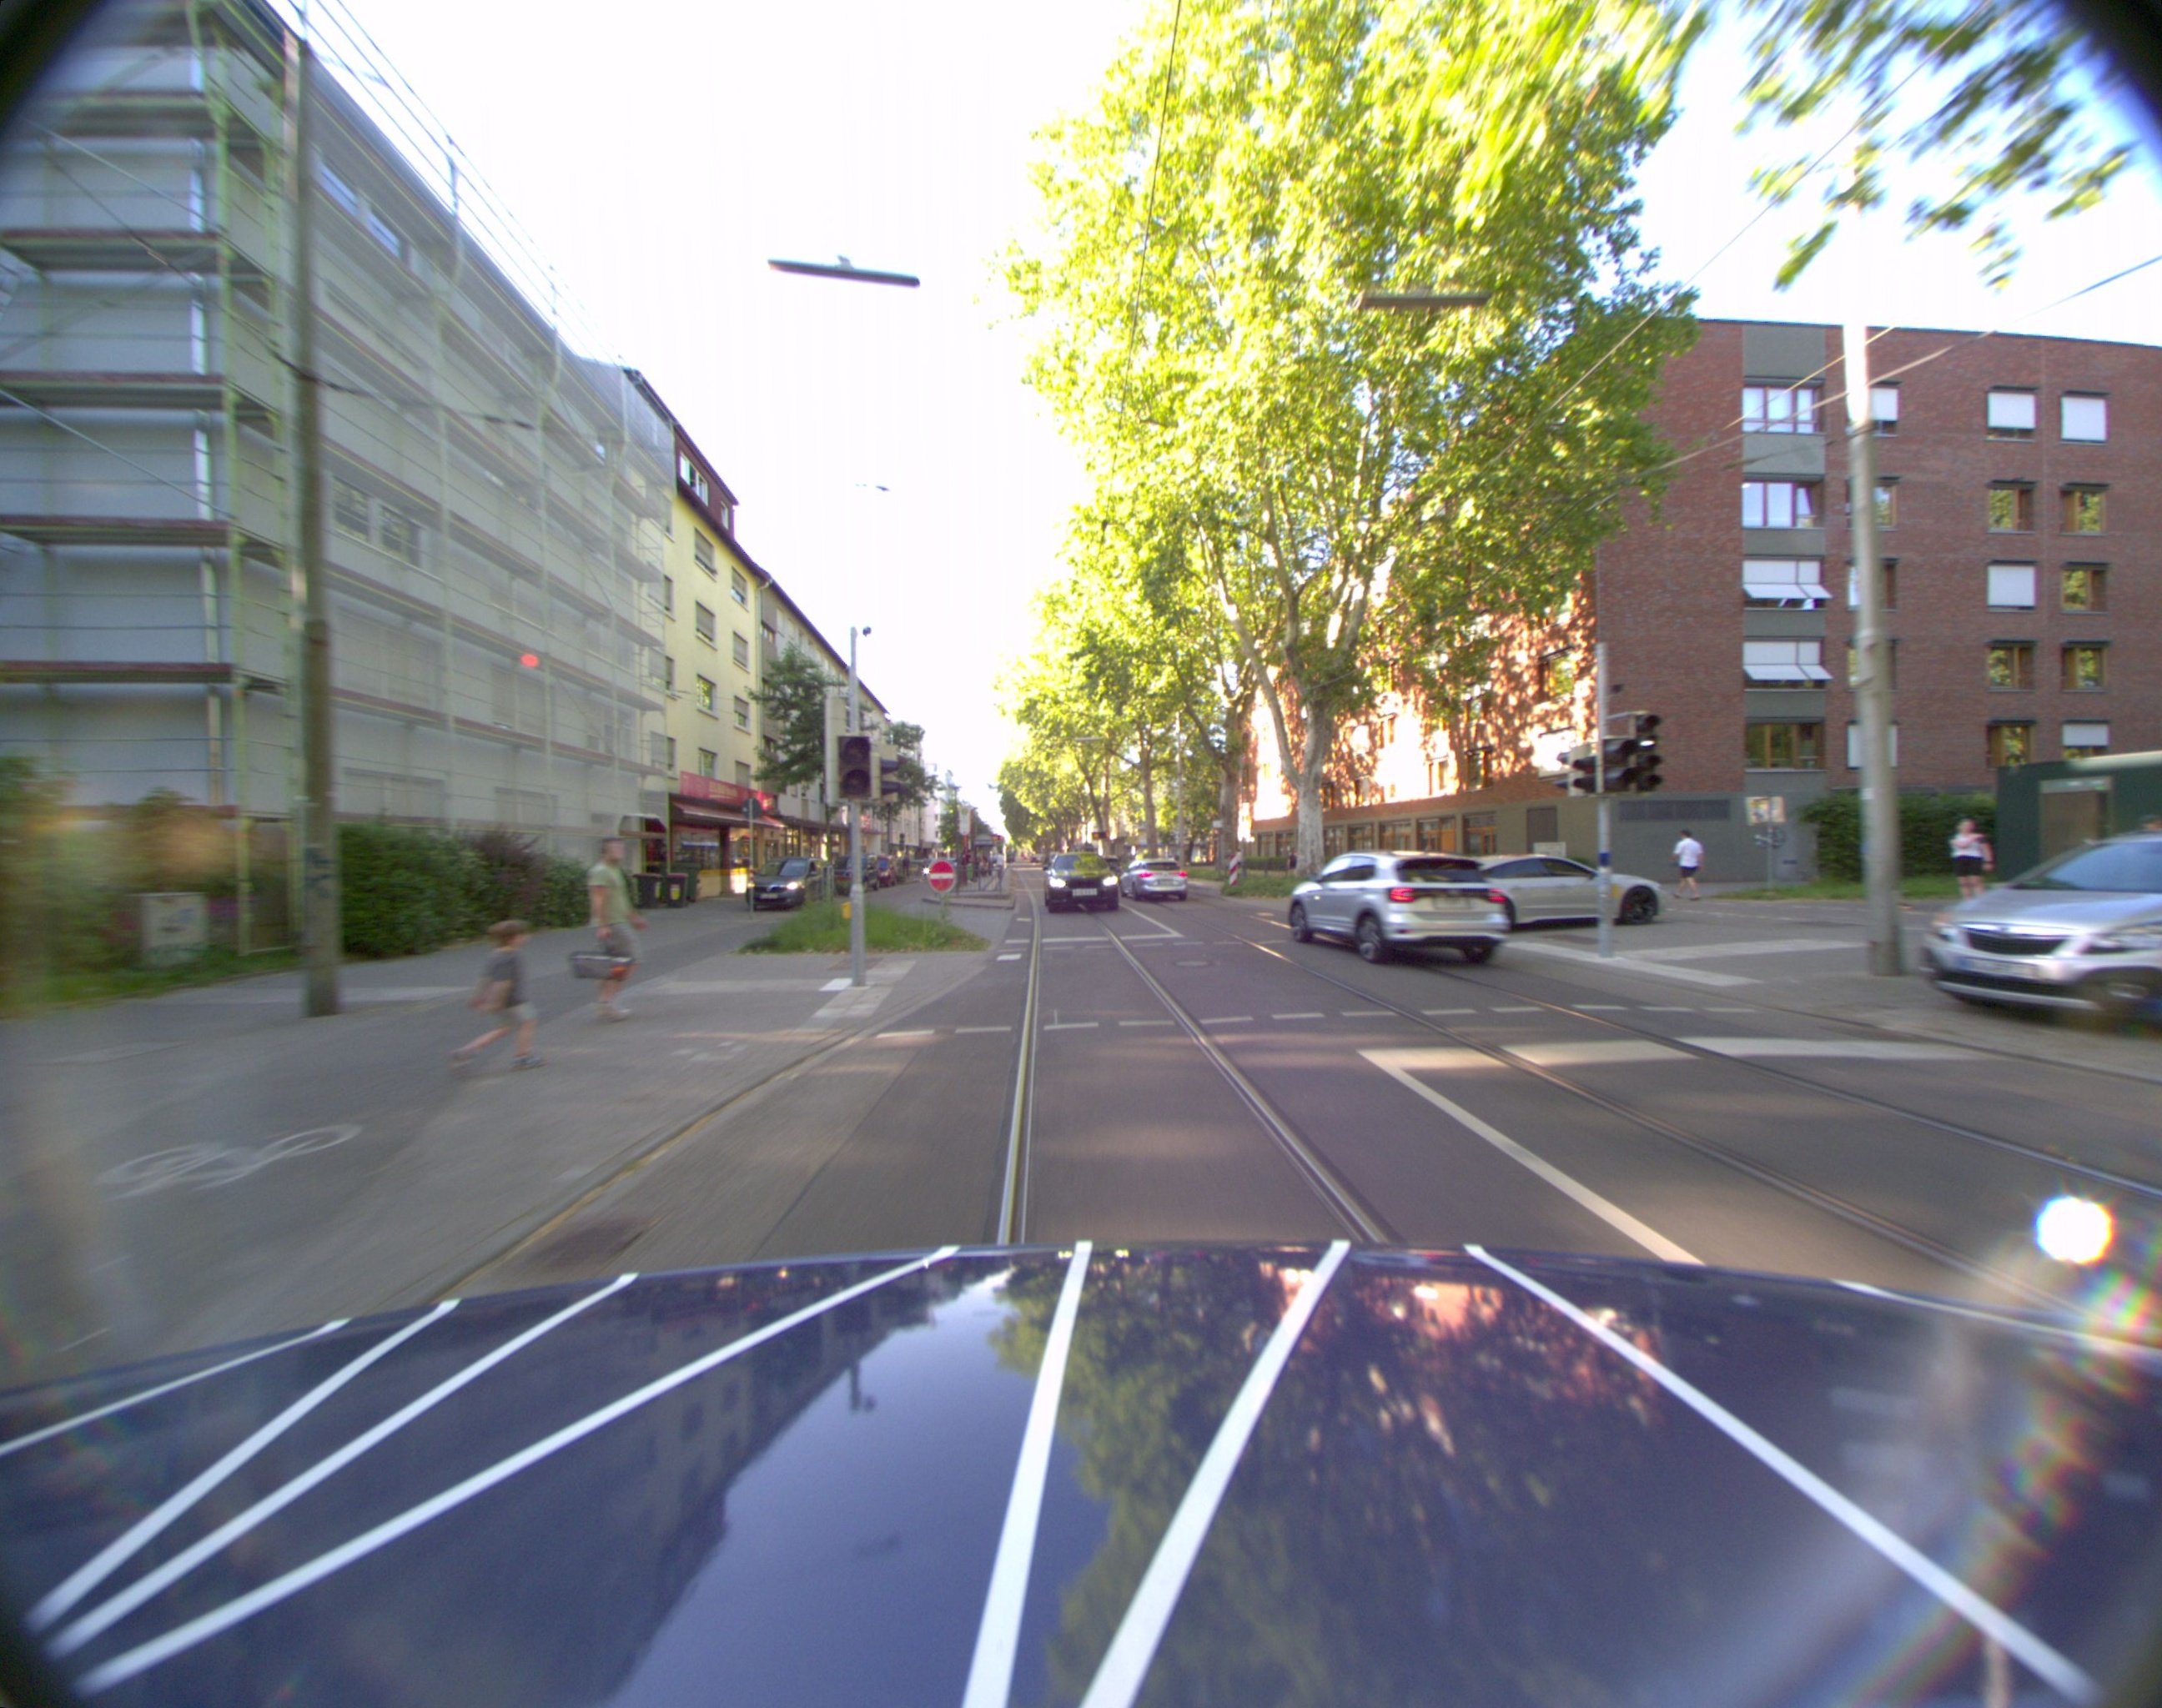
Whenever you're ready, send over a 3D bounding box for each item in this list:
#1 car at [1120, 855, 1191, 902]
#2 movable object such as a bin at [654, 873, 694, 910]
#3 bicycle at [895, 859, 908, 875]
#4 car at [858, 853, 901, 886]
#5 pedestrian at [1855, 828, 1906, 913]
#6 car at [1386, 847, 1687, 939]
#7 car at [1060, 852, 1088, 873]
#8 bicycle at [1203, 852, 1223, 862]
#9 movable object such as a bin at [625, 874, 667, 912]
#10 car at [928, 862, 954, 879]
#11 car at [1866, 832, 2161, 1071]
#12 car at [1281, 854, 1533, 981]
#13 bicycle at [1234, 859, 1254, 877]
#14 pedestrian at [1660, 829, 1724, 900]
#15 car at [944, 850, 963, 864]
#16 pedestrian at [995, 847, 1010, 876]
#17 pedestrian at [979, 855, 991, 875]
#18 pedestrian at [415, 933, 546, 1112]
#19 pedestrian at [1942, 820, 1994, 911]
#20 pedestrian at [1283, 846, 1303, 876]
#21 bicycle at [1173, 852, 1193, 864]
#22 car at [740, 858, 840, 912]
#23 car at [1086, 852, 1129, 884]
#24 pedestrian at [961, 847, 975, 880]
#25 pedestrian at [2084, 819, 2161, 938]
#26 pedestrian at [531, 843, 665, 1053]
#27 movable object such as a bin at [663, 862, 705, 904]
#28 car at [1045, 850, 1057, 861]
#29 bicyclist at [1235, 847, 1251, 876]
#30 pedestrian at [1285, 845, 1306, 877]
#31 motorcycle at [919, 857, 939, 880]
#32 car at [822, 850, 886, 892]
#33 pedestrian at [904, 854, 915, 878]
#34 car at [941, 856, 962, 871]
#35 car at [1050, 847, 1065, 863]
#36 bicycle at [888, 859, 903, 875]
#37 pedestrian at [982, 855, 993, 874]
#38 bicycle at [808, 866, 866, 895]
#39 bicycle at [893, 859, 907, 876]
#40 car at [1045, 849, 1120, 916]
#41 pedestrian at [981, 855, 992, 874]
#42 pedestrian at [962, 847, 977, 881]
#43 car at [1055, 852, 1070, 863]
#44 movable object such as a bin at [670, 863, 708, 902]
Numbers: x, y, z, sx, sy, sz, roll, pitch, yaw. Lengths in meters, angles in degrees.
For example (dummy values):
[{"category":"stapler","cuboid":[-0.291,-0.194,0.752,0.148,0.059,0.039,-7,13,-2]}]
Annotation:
[{"category":"car","cuboid":[2.556,0.798,27.005,1.780,1.452,4.202,-2,1,-4]},{"category":"movable object such as a bin","cuboid":[-12.541,1.149,23.438,0.883,1.104,0.696,0,1,-7]},{"category":"bicycle","cuboid":[-14.235,1.041,60.232,0.774,1.173,2.781,4,-2,-9]},{"category":"car","cuboid":[-11.469,0.841,43.516,1.693,1.745,4.171,-2,1,-6]},{"category":"pedestrian","cuboid":[16.120,0.316,15.323,0.697,1.649,0.561,-3,1,-31]},{"category":"car","cuboid":[8.714,0.687,14.767,4.779,1.452,1.953,-2,1,-6]},{"category":"car","cuboid":[-0.689,0.696,67.122,1.999,1.706,5.140,-2,1,-5]},{"category":"bicycle","cuboid":[14.597,0.352,84.131,0.823,1.088,2.033,-3,1,-43]},{"category":"movable object such as a bin","cuboid":[-13.092,1.164,22.896,0.883,1.104,0.696,0,1,-7]},{"category":"car","cuboid":[-14.547,1.704,79.311,1.959,1.474,4.658,-3,1,-3]},{"category":"car","cuboid":[9.706,0.652,6.573,4.152,1.637,1.901,-2,1,-6]},{"category":"car","cuboid":[4.648,0.791,11.605,1.821,1.559,4.114,0,0,-5]},{"category":"bicycle","cuboid":[10.131,0.868,47.404,0.717,1.057,1.839,-2,1,-3]},{"category":"pedestrian","cuboid":[15.511,0.251,19.302,0.846,1.727,0.915,-2,1,-9]},{"category":"car","cuboid":[-15.670,0.310,93.597,1.999,1.572,3.998,-2,1,-5]},{"category":"pedestrian","cuboid":[-4.742,0.462,45.992,0.836,1.703,0.639,-2,1,-4]},{"category":"pedestrian","cuboid":[-6.656,0.772,52.684,0.721,1.318,0.492,-3,1,-16]},{"category":"pedestrian","cuboid":[-4.423,1.192,5.615,0.677,1.112,0.658,-3,1,-39]},{"category":"pedestrian","cuboid":[17.035,0.220,14.590,0.534,1.695,0.591,-3,1,-36]},{"category":"pedestrian","cuboid":[12.470,0.396,44.708,0.766,1.734,0.971,-2,1,-5]},{"category":"bicycle","cuboid":[11.302,0.445,84.034,2.099,1.182,0.881,-2,1,12]},{"category":"car","cuboid":[-9.272,0.927,24.618,1.767,1.612,4.440,0,0,-3]},{"category":"car","cuboid":[1.377,0.714,41.675,1.914,1.628,4.318,0,1,-4]},{"category":"pedestrian","cuboid":[-6.075,0.520,40.900,0.493,1.760,0.704,-2,1,10]},{"category":"pedestrian","cuboid":[15.431,0.330,11.038,0.711,1.663,0.779,-2,1,-5]},{"category":"pedestrian","cuboid":[-4.689,0.848,7.468,0.871,1.874,0.996,-3,1,-23]},{"category":"movable object such as a bin","cuboid":[-13.328,0.967,25.535,1.002,1.389,0.824,0,1,-7]},{"category":"car","cuboid":[-6.370,0.306,161.272,2.143,2.275,4.962,-3,1,-5]},{"category":"bicyclist","cuboid":[10.112,0.440,47.474,0.702,1.777,0.838,-2,1,-3]},{"category":"pedestrian","cuboid":[11.383,0.369,40.345,0.740,1.662,0.968,-2,1,-3]},{"category":"motorcycle","cuboid":[-10.403,0.978,52.102,1.055,1.446,2.207,-2,1,-5]},{"category":"car","cuboid":[-10.916,0.775,36.839,1.999,1.885,4.192,2,0,-3]},{"category":"pedestrian","cuboid":[-12.782,0.893,56.732,0.680,1.794,0.772,-3,2,-11]},{"category":"car","cuboid":[-14.888,1.084,87.509,1.900,1.477,3.998,-2,1,-5]},{"category":"car","cuboid":[-4.420,0.135,143.400,2.430,2.833,5.070,-3,1,-5]},{"category":"bicycle","cuboid":[-13.789,0.974,56.594,0.774,1.173,2.781,4,-2,-9]},{"category":"pedestrian","cuboid":[-7.934,0.871,64.654,0.648,1.567,0.855,-2,1,13]},{"category":"bicycle","cuboid":[-10.378,1.120,32.394,2.210,1.202,1.029,0,1,-5]},{"category":"bicycle","cuboid":[-13.824,1.027,58.169,0.774,1.173,2.781,4,-2,-9]},{"category":"car","cuboid":[-0.080,0.746,23.063,1.938,1.719,5.071,-3,1,-3]},{"category":"pedestrian","cuboid":[-6.612,0.713,53.181,0.586,1.298,0.526,-3,1,-16]},{"category":"pedestrian","cuboid":[-5.894,0.520,40.226,0.690,1.745,0.579,-2,1,-11]},{"category":"car","cuboid":[-3.259,0.592,133.293,2.042,1.881,5.070,-3,1,-5]},{"category":"movable object such as a bin","cuboid":[-13.689,0.989,26.542,0.926,1.342,0.824,0,1,-7]}]
